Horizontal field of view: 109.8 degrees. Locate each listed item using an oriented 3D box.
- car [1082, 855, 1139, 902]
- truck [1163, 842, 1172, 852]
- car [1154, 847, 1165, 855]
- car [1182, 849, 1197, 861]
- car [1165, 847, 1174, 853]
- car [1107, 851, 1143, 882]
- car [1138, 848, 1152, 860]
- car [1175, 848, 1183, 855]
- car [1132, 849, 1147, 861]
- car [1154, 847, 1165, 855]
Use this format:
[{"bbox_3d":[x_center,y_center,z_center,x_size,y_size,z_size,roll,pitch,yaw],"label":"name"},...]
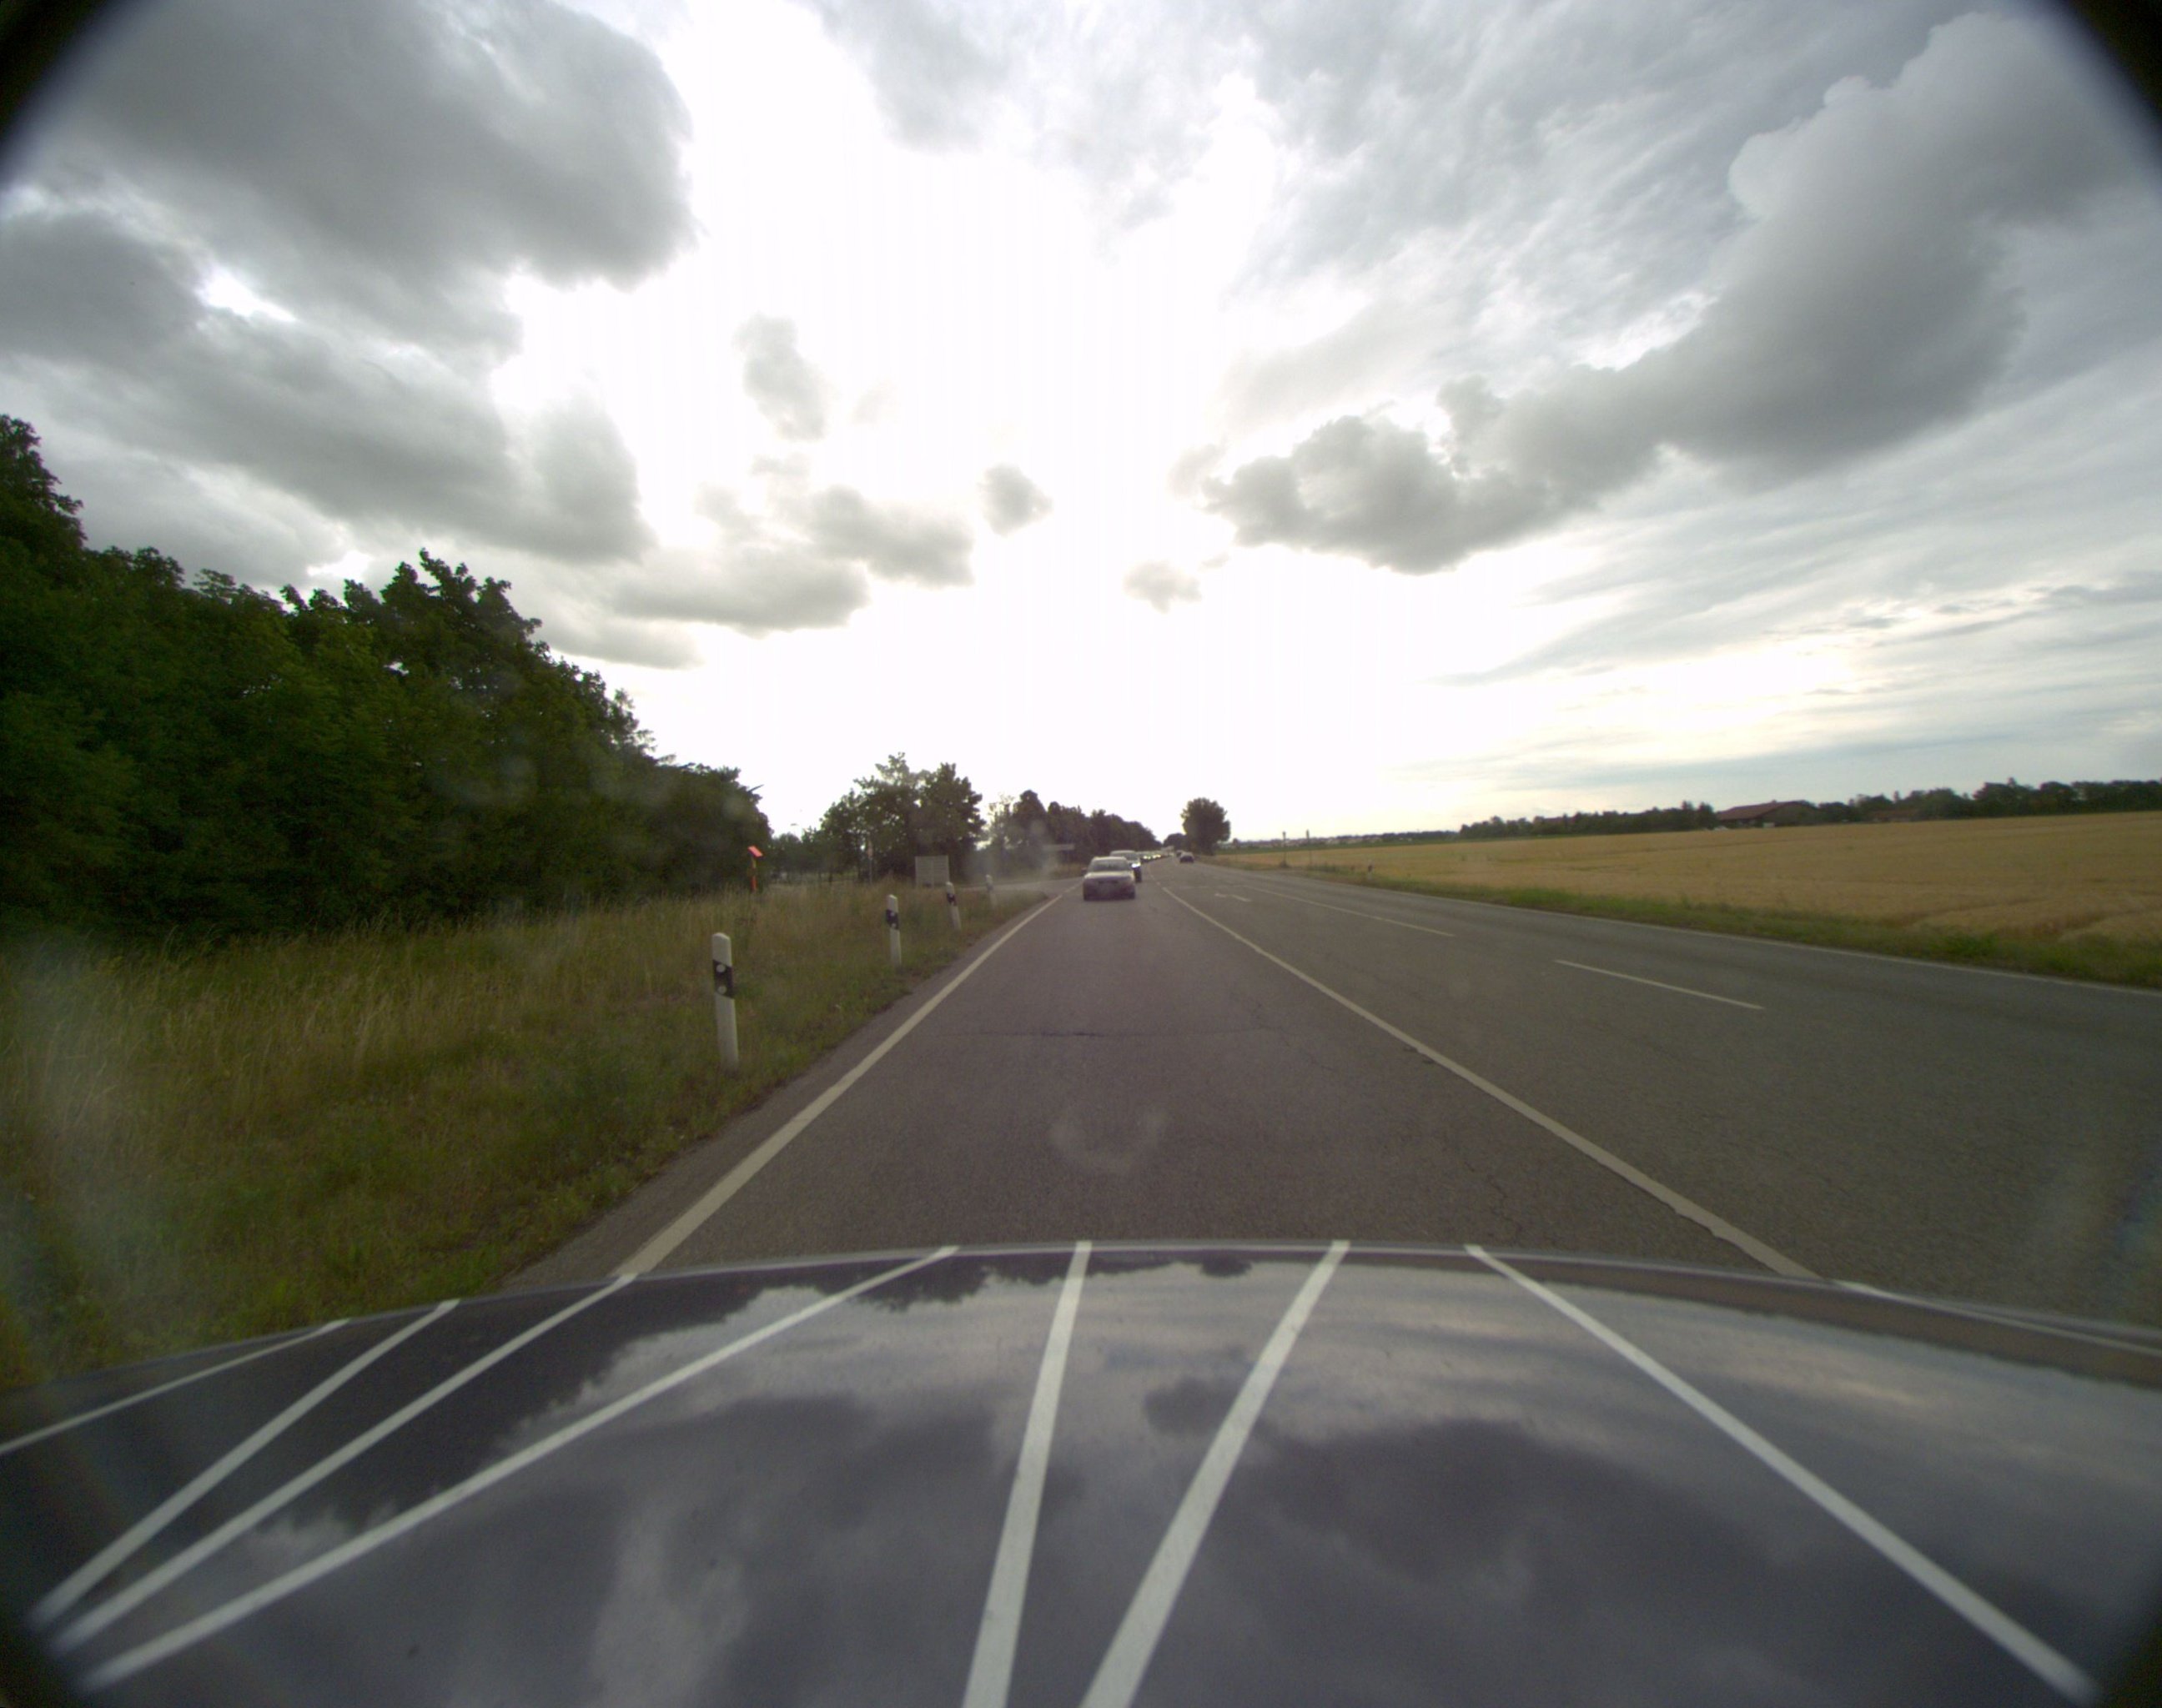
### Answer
[{"bbox_3d":[0.988,0.798,26.755,1.793,1.415,4.367,-2,0,1],"label":"car"},{"bbox_3d":[25.050,-1.921,219.611,2.319,2.749,7.676,-2,1,7],"label":"truck"},{"bbox_3d":[17.277,-0.651,166.398,1.953,1.573,4.140,-2,0,12],"label":"car"},{"bbox_3d":[14.501,0.102,101.687,1.830,1.402,4.426,-3,0,8],"label":"car"},{"bbox_3d":[22.657,-1.090,195.312,1.792,1.531,4.140,-2,0,13],"label":"car"},{"bbox_3d":[2.374,0.642,41.668,1.793,1.573,4.367,-2,0,2],"label":"car"},{"bbox_3d":[9.461,-0.009,112.219,1.793,1.573,4.189,-2,0,6],"label":"car"},{"bbox_3d":[24.954,-0.713,193.307,1.951,1.684,4.449,-2,0,8],"label":"car"},{"bbox_3d":[7.691,0.110,100.207,1.793,1.573,4.369,-2,0,6],"label":"car"},{"bbox_3d":[16.365,-0.608,158.243,1.792,1.573,4.140,-2,0,11],"label":"car"}]
